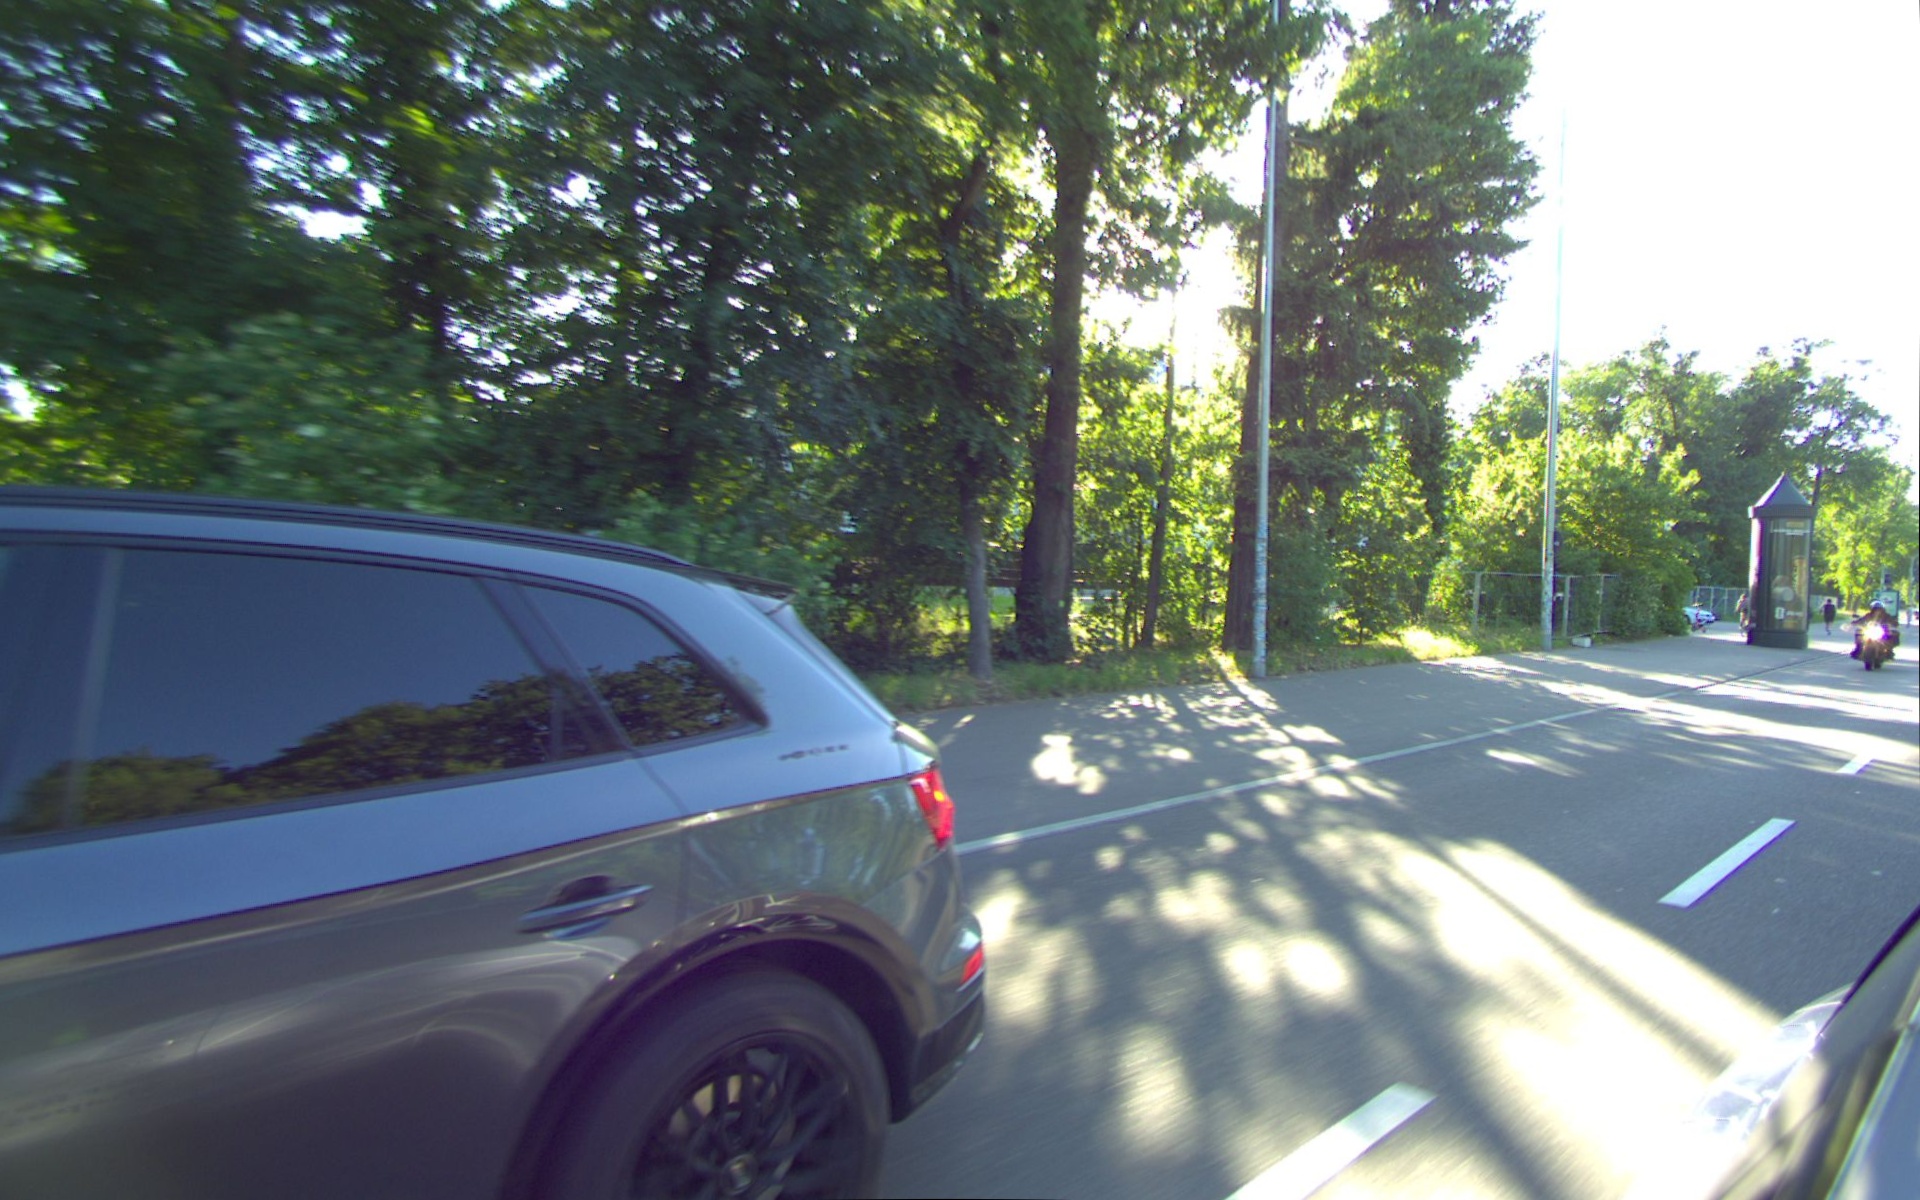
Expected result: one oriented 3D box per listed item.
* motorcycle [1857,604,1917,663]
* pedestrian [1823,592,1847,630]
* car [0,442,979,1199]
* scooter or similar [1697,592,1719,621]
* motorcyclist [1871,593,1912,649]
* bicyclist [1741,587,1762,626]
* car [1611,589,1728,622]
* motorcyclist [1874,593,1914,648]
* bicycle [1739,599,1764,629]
[{"bbox_3d":[21.487,0.744,23.438,2.914,1.266,0.914,0,0,-45],"label":"motorcycle"},{"bbox_3d":[40.151,0.483,46.442,0.866,1.709,0.628,0,0,-35],"label":"pedestrian"},{"bbox_3d":[-2.246,0.622,1.507,4.465,1.625,1.896,0,0,-41],"label":"car"},{"bbox_3d":[31.608,0.292,42.782,1.382,1.186,0.282,1,2,-35],"label":"scooter or similar"},{"bbox_3d":[21.548,0.474,23.407,0.812,1.280,0.670,0,0,-45],"label":"motorcyclist"},{"bbox_3d":[31.285,0.249,39.992,0.847,1.487,0.521,0,1,-45],"label":"bicyclist"},{"bbox_3d":[35.231,0.234,50.382,1.786,1.395,4.388,0,3,-35],"label":"car"},{"bbox_3d":[22.163,0.467,24.013,0.812,1.280,0.670,0,0,-45],"label":"motorcyclist"},{"bbox_3d":[31.311,0.535,40.017,1.834,1.151,0.554,0,2,-45],"label":"bicycle"}]
